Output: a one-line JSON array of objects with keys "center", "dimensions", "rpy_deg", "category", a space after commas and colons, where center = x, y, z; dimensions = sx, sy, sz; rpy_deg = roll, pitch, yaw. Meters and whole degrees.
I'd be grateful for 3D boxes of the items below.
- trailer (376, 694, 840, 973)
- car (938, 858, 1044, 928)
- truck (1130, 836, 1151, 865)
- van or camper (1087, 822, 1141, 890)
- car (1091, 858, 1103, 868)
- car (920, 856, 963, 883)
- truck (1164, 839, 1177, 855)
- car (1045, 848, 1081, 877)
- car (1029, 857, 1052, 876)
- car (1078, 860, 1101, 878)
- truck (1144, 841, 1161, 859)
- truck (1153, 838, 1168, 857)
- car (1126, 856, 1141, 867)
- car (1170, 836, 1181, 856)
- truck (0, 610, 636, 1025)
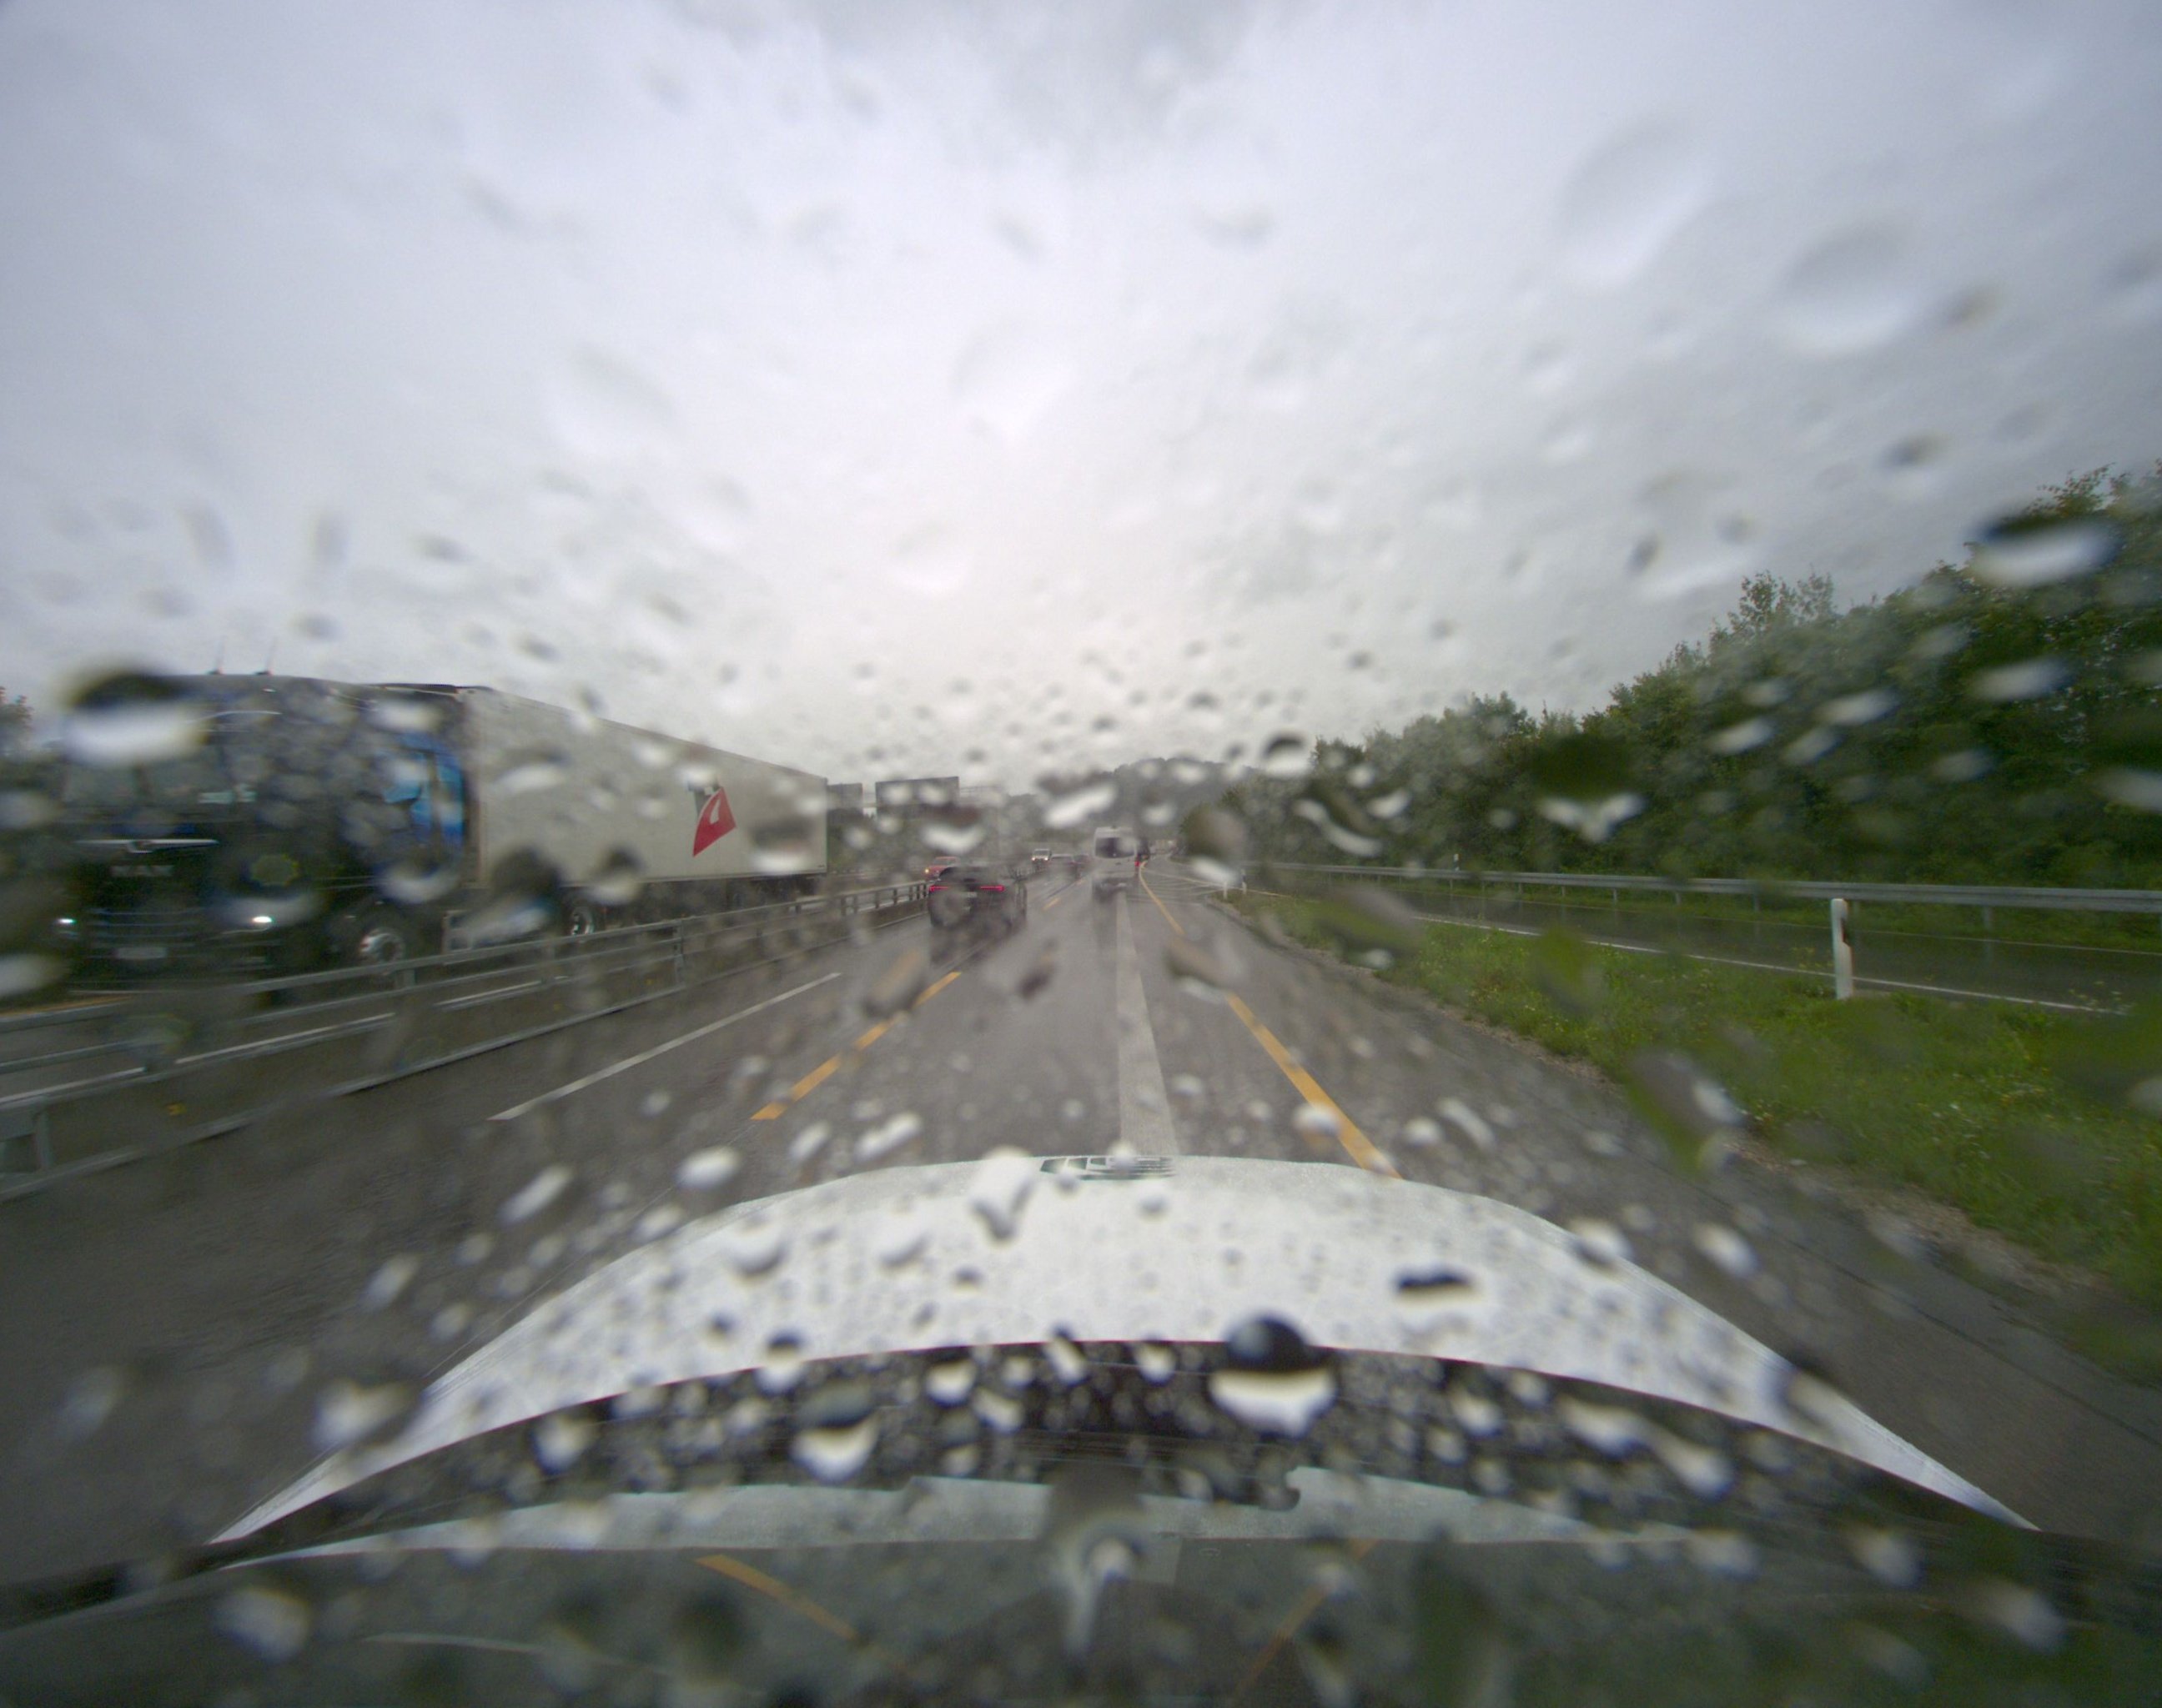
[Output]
[{"center": [-9.323, -0.256, 19.188], "dimensions": [2.881, 4.286, 12.901], "rpy_deg": [-2, -1, 2], "category": "trailer"}, {"center": [-1.970, 0.825, 19.165], "dimensions": [1.932, 1.427, 4.759], "rpy_deg": [0, 0, 0], "category": "car"}, {"center": [10.218, -0.585, 139.691], "dimensions": [3.307, 4.785, 9.912], "rpy_deg": [0, -1, 3], "category": "truck"}, {"center": [1.409, 0.096, 35.205], "dimensions": [2.131, 2.721, 4.650], "rpy_deg": [-1, 0, 2], "category": "van or camper"}, {"center": [1.833, 0.998, 94.017], "dimensions": [1.258, 1.078, 3.256], "rpy_deg": [-1, 0, 2], "category": "car"}, {"center": [-8.067, 0.865, 47.424], "dimensions": [1.602, 1.504, 4.219], "rpy_deg": [0, -1, 2], "category": "car"}, {"center": [28.545, -2.144, 259.676], "dimensions": [3.907, 4.785, 9.926], "rpy_deg": [0, -1, 7], "category": "truck"}, {"center": [-1.056, 0.495, 49.608], "dimensions": [1.859, 1.659, 3.991], "rpy_deg": [-1, 0, 3], "category": "car"}, {"center": [-4.367, 1.351, 88.741], "dimensions": [1.900, 2.014, 5.833], "rpy_deg": [0, -1, 3], "category": "car"}, {"center": [0.730, 1.265, 69.691], "dimensions": [1.846, 1.500, 4.000], "rpy_deg": [-1, 0, 0], "category": "car"}, {"center": [15.970, -0.837, 181.832], "dimensions": [3.307, 3.762, 9.912], "rpy_deg": [0, -1, 3], "category": "truck"}, {"center": [21.673, -1.713, 221.019], "dimensions": [3.907, 4.785, 9.926], "rpy_deg": [0, -1, 7], "category": "truck"}, {"center": [5.910, 0.860, 92.056], "dimensions": [1.380, 1.256, 3.120], "rpy_deg": [-1, 0, -2], "category": "car"}, {"center": [20.734, -1.687, 179.023], "dimensions": [2.048, 4.192, 6.755], "rpy_deg": [-1, 0, 5], "category": "car"}, {"center": [-9.666, -0.344, 11.604], "dimensions": [2.877, 4.232, 6.330], "rpy_deg": [-2, -1, 3], "category": "truck"}]
